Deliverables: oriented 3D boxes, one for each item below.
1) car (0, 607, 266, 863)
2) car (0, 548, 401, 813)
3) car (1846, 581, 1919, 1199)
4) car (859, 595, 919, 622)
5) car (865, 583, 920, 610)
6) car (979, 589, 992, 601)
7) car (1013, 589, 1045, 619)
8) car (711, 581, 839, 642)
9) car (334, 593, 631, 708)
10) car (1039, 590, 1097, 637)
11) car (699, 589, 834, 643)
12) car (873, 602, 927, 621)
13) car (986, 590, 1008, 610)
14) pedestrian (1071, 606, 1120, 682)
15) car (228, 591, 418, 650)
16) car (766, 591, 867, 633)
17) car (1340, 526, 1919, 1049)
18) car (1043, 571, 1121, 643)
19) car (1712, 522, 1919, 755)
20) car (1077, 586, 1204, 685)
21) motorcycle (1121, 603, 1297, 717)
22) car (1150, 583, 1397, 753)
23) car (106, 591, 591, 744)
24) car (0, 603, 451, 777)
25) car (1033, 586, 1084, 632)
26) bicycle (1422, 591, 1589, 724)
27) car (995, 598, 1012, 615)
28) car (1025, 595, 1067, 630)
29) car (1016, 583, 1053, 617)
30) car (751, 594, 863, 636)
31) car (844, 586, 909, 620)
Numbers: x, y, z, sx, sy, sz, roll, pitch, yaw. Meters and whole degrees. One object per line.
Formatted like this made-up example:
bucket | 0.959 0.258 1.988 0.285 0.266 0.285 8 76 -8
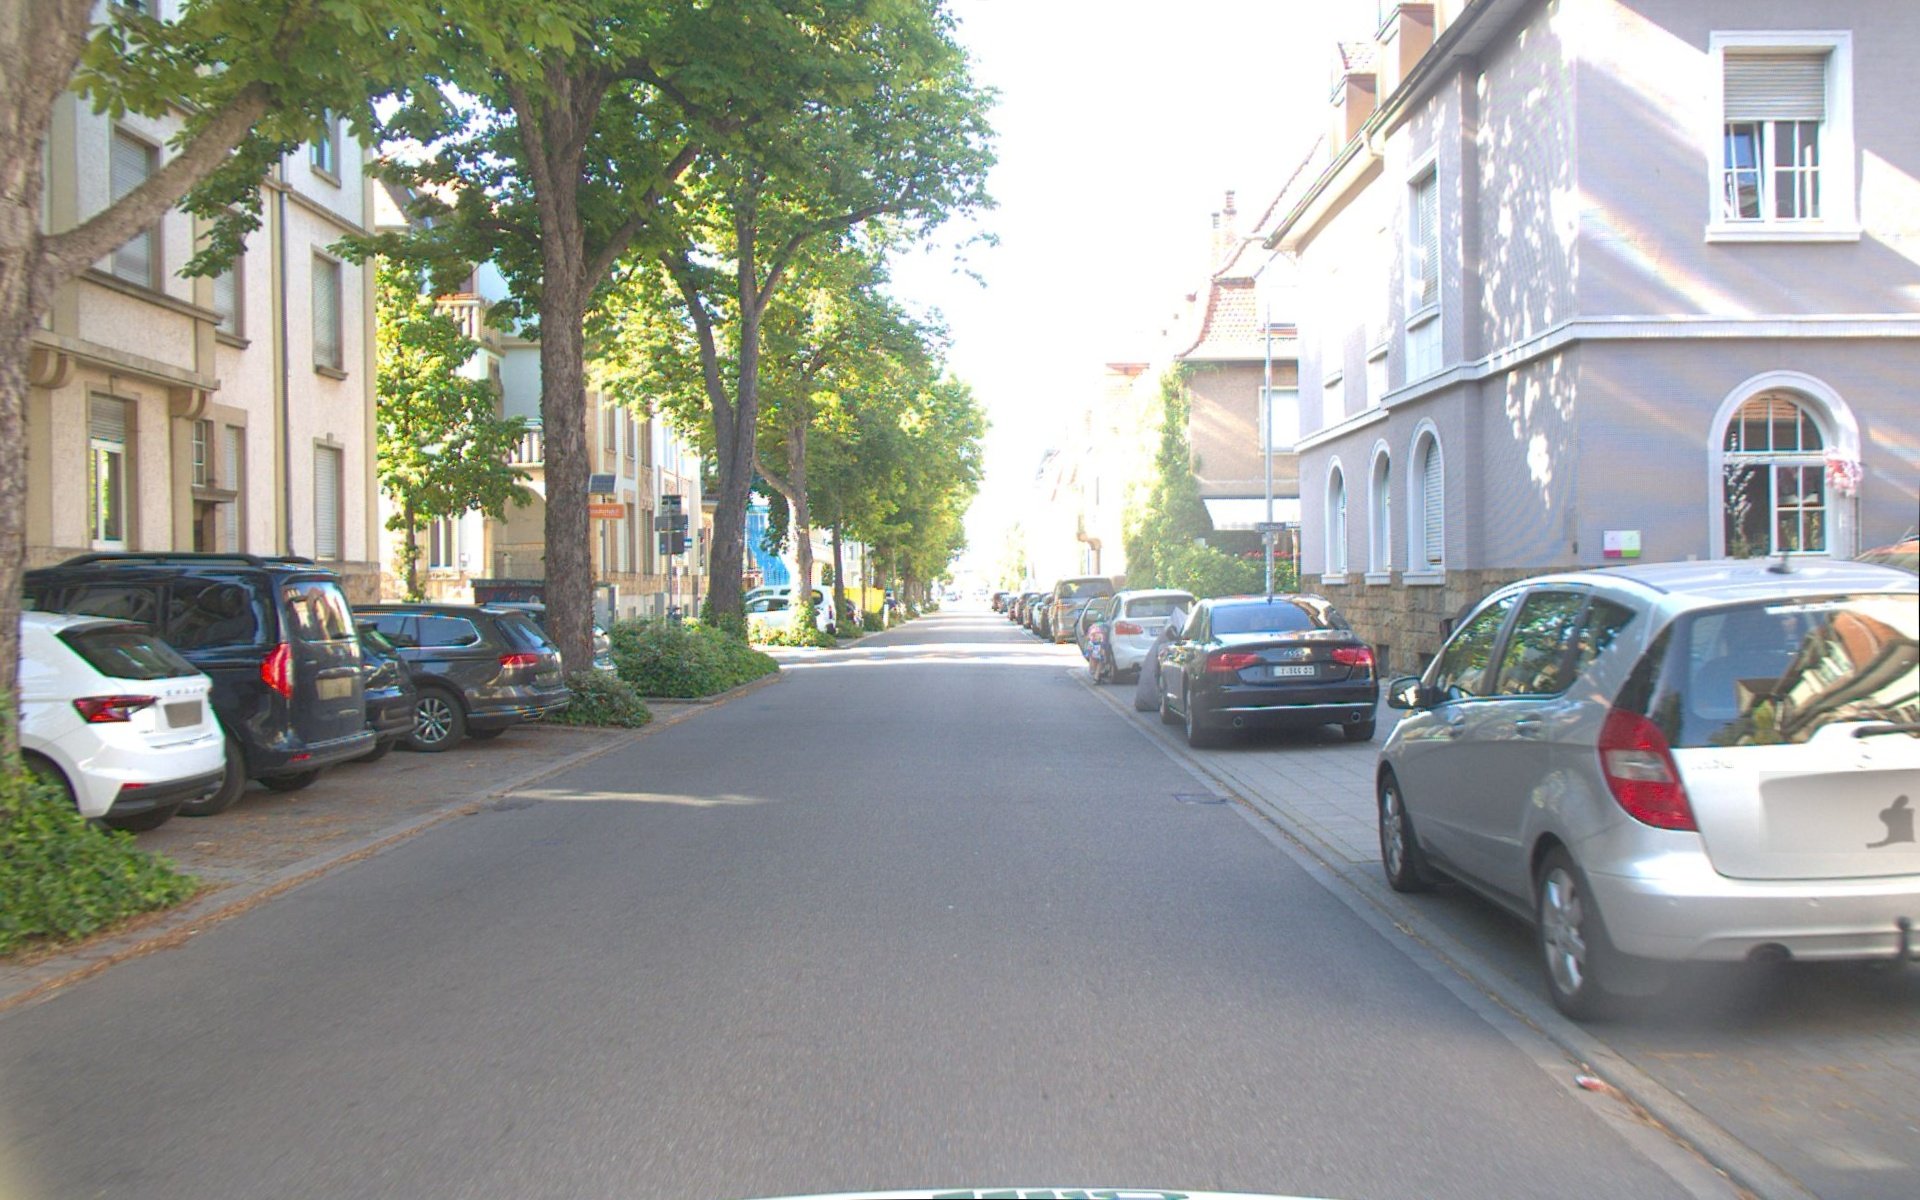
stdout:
car | -6.676 0.791 10.377 3.908 1.473 1.741 0 0 -4
car | -6.558 0.576 12.704 3.899 1.888 1.828 0 0 -1
car | 3.005 0.695 1.711 1.645 1.483 4.436 -1 0 -2
car | -4.916 0.581 114.764 3.923 1.765 1.895 2 1 2
car | -5.051 -0.238 123.646 3.923 1.873 2.001 2 1 2
car | 3.658 -0.721 237.546 1.734 1.660 3.867 -1 0 1
car | 3.998 0.204 96.254 1.734 1.660 3.867 -1 0 1
car | -5.823 0.372 52.388 3.908 1.791 1.797 2 -1 -4
car | -6.502 0.675 22.769 3.599 1.513 1.641 0 0 0
car | 3.603 0.417 55.709 1.656 1.423 3.805 -3 0 0
car | -5.827 0.483 50.151 3.908 1.490 1.796 2 -1 -4
car | -4.679 0.883 129.695 3.903 1.434 1.703 0 0 18
car | 3.101 0.013 138.280 1.734 1.660 3.867 -1 0 1
pedestrian | 2.351 0.757 28.811 0.710 1.279 0.645 -1 0 -7
car | -16.874 0.523 43.936 4.315 1.490 1.802 -1 0 1
car | -5.745 0.480 66.118 3.912 1.579 1.834 -1 0 -8
car | 3.023 0.594 7.337 1.752 1.628 4.000 -3 0 1
car | 3.559 0.182 49.007 1.865 1.903 4.673 -3 0 0
car | 8.968 0.281 14.342 4.054 1.875 1.765 -1 -1 -1
car | 3.157 0.587 29.696 1.665 1.566 4.154 -3 0 -1
motorcycle | 3.283 0.768 21.773 2.147 1.362 0.922 2 1 17
car | 3.201 0.624 17.798 1.816 1.519 4.608 -2 0 1
car | -6.342 0.678 17.558 4.440 1.529 1.891 0 0 -1
car | -6.849 0.772 15.030 3.899 1.462 1.828 0 0 -2
car | 3.642 0.296 61.500 1.752 1.646 3.867 -1 0 1
bicycle | 5.996 0.589 18.340 1.060 1.361 2.250 -1 0 -1
car | 4.407 0.642 166.969 1.734 1.660 3.867 -1 0 1
car | 3.753 0.532 72.430 1.734 1.480 3.867 -1 0 1
car | 3.746 -0.024 83.615 1.734 1.660 3.867 -1 0 1
car | -5.649 0.545 61.324 3.904 1.495 1.864 0 1 2
car | -5.206 0.179 102.849 3.912 2.049 1.996 -1 0 -8
